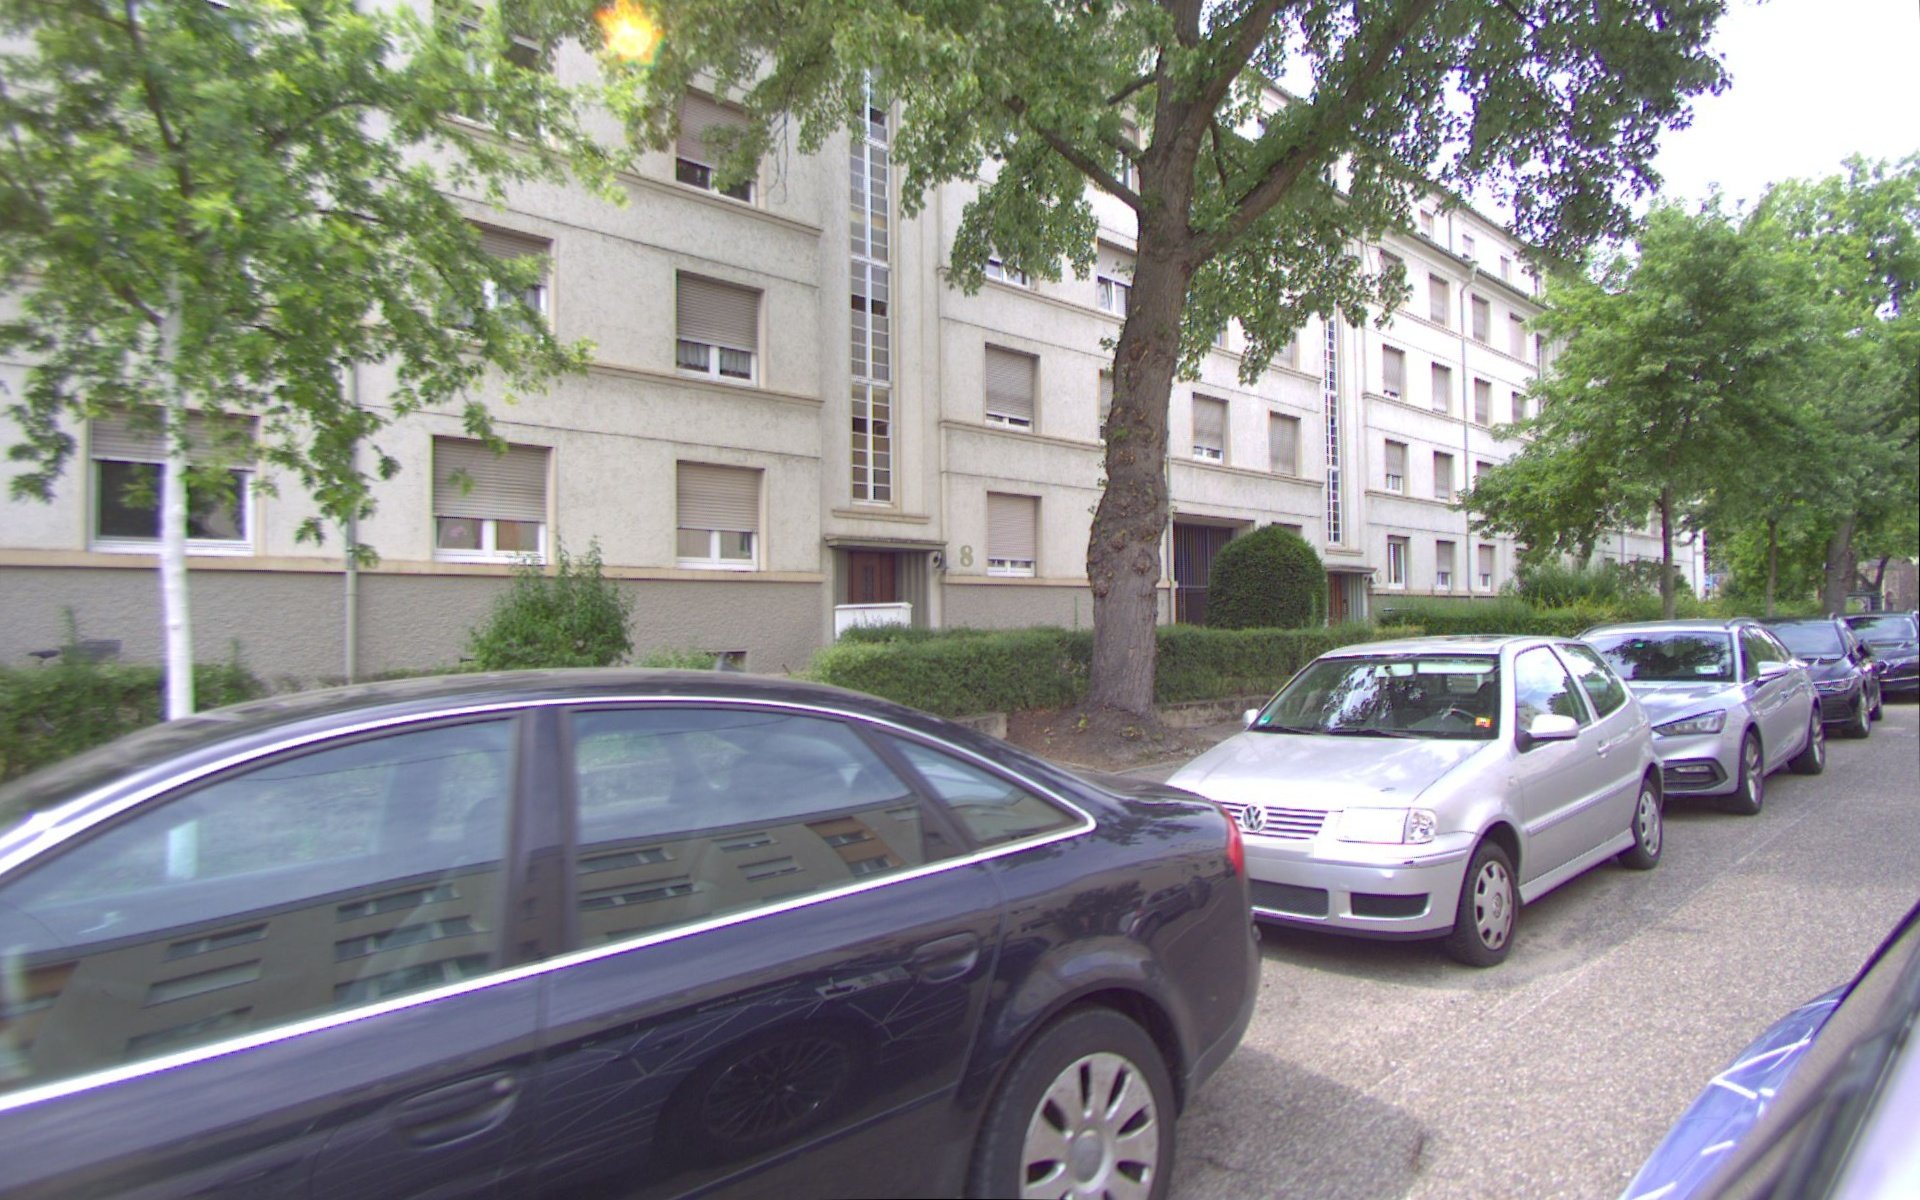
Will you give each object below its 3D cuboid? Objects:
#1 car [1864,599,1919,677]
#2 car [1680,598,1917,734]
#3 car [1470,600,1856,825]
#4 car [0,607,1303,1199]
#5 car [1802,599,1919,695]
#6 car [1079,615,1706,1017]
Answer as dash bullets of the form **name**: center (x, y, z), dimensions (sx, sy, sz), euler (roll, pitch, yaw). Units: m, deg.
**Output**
- **car**: center (20.140, 0.732, 20.803), dimensions (4.028, 1.488, 1.700), euler (0, -3, -40)
- **car**: center (11.167, 0.772, 13.347), dimensions (4.672, 1.488, 1.699), euler (0, -3, -42)
- **car**: center (6.359, 0.789, 8.914), dimensions (4.636, 1.488, 1.699), euler (0, -3, -42)
- **car**: center (-1.432, 0.808, 2.051), dimensions (4.529, 1.488, 1.783), euler (0, -3, -38)
- **car**: center (16.271, 0.755, 17.575), dimensions (4.478, 1.488, 1.700), euler (0, -3, -40)
- **car**: center (2.574, 0.854, 5.594), dimensions (3.785, 1.419, 1.671), euler (0, -4, -42)
